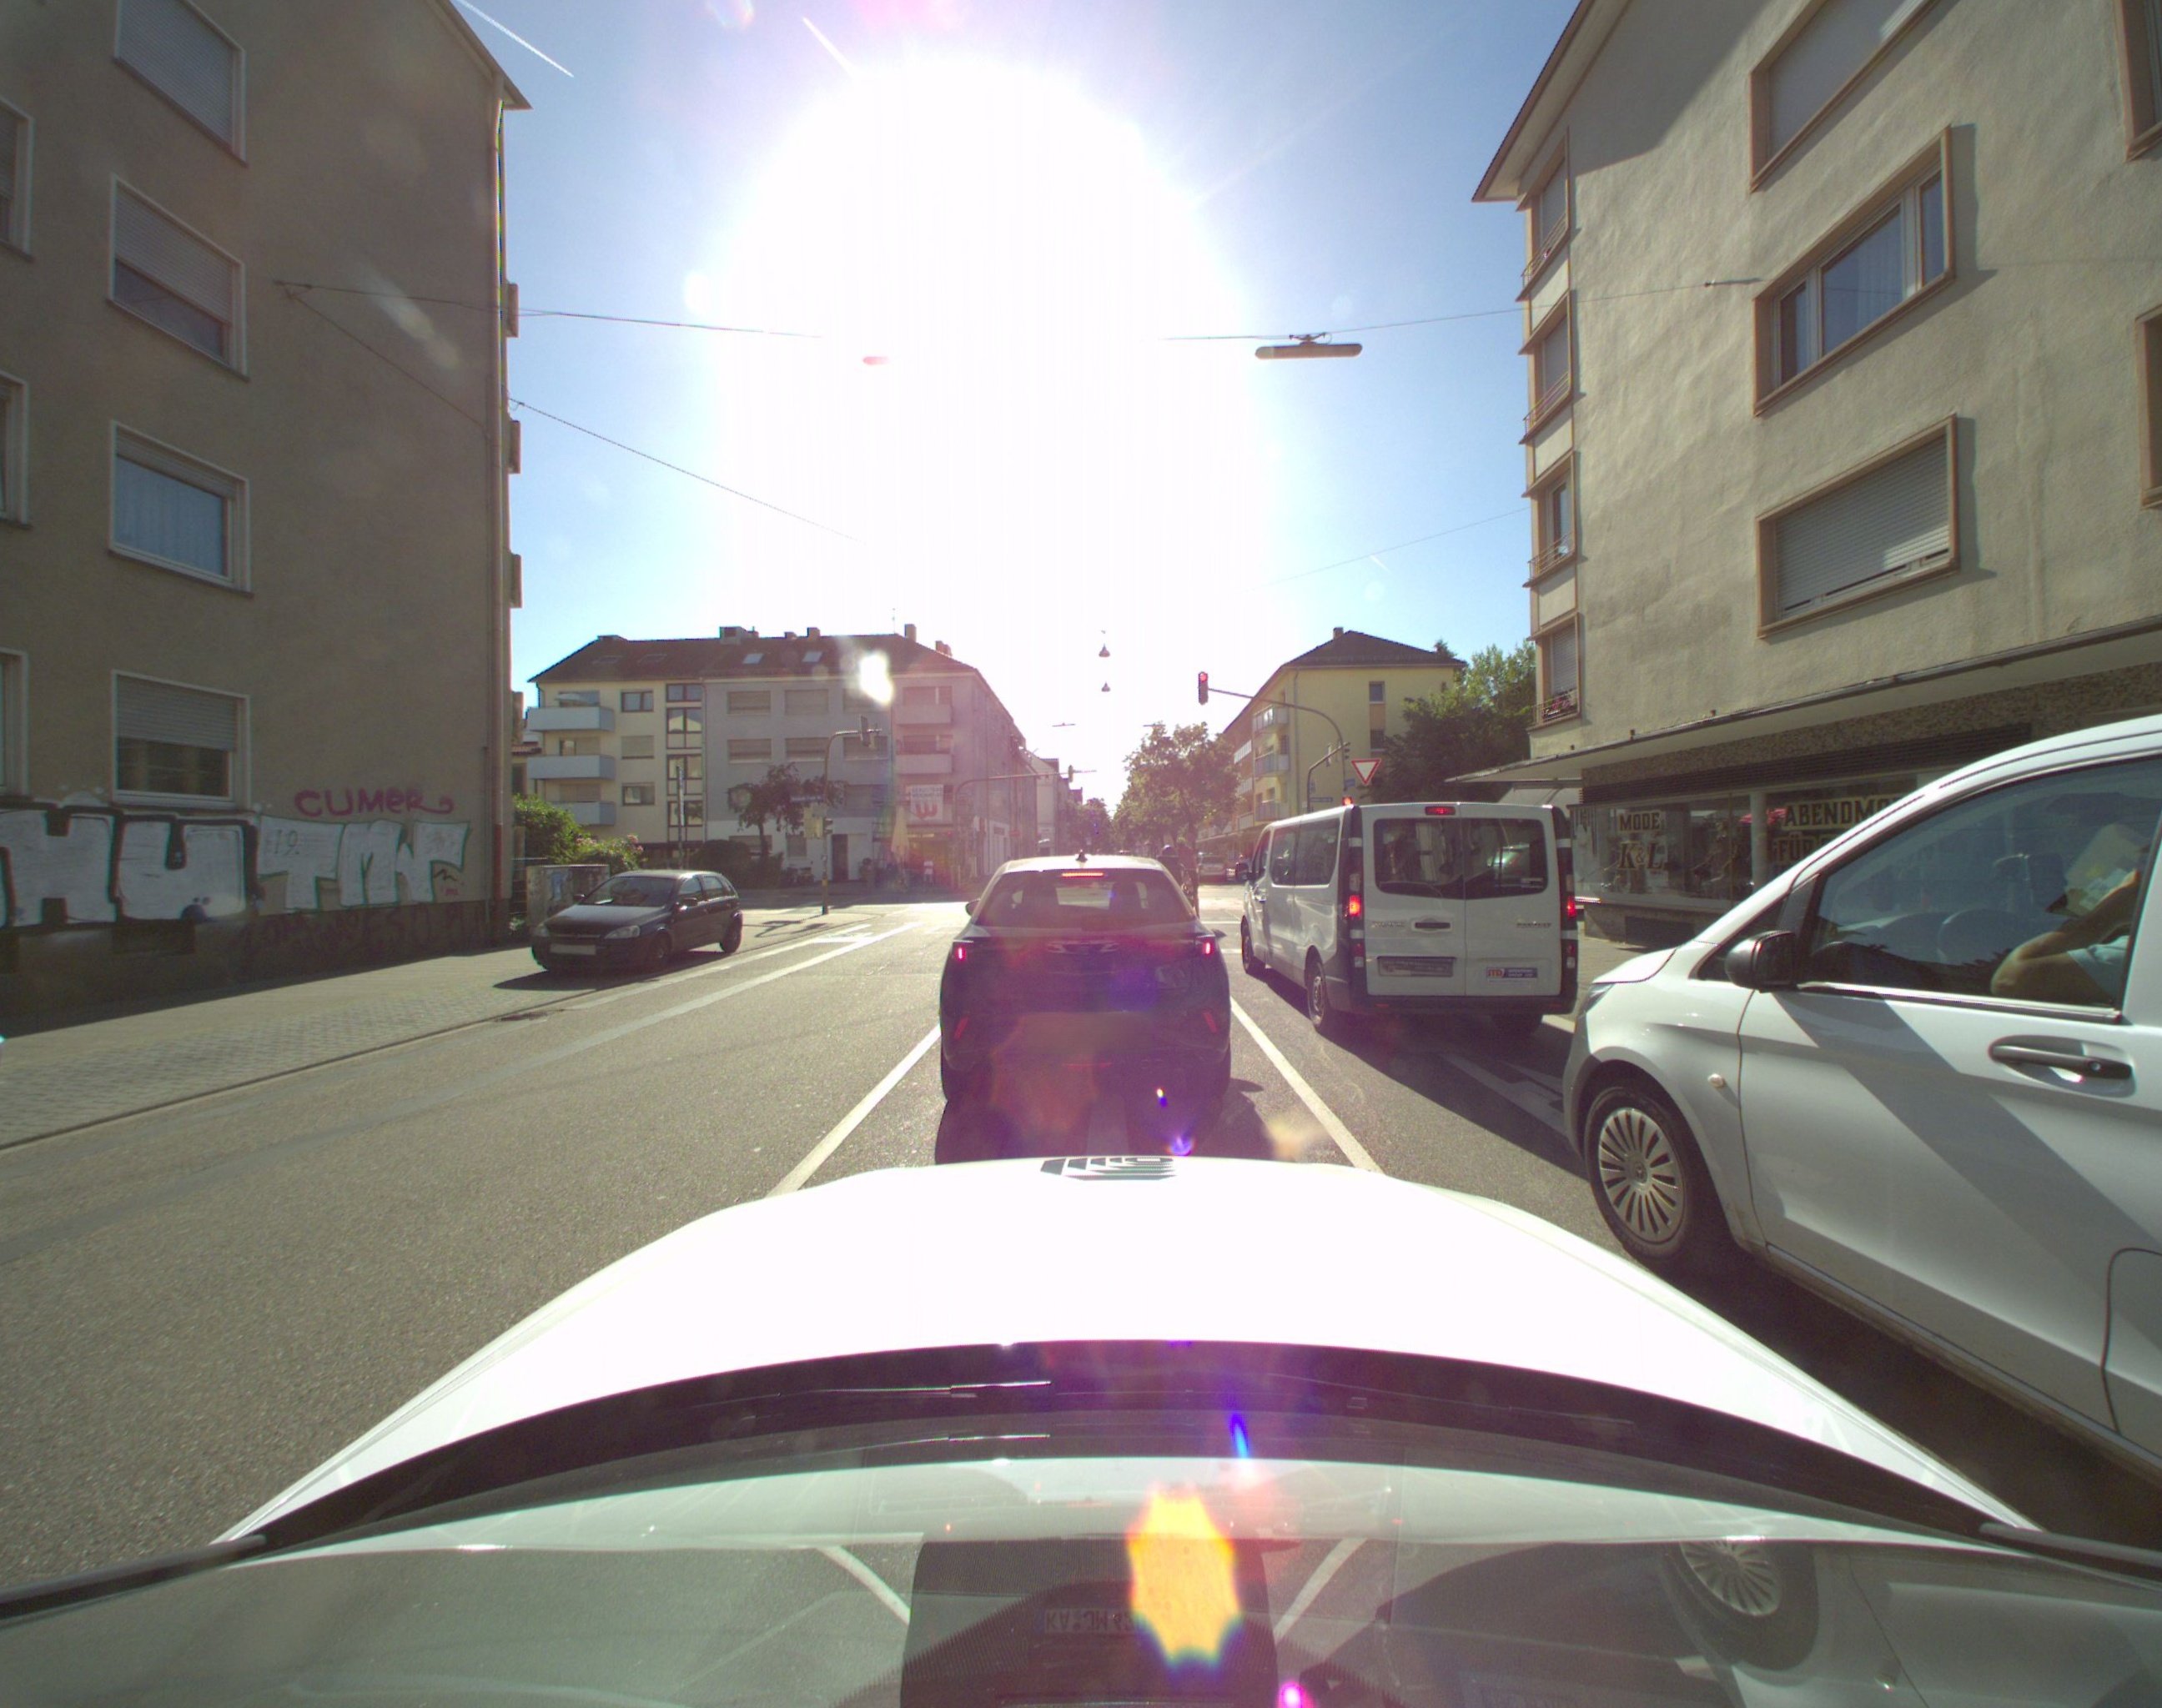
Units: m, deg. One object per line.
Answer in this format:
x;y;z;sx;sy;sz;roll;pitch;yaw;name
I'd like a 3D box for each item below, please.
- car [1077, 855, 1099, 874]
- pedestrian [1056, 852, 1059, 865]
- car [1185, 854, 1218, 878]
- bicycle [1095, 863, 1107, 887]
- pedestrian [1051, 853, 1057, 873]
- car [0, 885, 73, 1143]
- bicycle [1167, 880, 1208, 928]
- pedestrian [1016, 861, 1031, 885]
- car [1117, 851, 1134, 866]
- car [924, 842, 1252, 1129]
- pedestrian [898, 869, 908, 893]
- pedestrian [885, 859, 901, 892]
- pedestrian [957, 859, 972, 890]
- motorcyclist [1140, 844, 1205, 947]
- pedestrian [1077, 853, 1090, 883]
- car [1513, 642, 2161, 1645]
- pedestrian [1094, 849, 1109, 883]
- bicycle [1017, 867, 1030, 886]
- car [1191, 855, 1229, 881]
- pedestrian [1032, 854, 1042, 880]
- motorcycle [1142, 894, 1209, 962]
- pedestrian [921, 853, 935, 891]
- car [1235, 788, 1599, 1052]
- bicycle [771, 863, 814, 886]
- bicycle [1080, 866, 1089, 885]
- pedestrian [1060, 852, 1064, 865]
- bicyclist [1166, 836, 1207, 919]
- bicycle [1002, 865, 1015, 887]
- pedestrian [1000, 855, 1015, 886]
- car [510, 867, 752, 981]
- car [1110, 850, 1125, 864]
0.662;0.980;77.239;1.817;1.728;4.004;-1;0;3;car
-2.899;0.565;100.769;0.400;1.675;0.418;-1;0;1;pedestrian
7.644;0.763;51.909;1.628;1.433;4.002;-1;0;2;car
1.008;1.043;41.339;0.520;1.147;2.170;-1;0;0;bicycle
-2.335;0.786;70.484;0.486;1.690;0.588;-1;0;1;pedestrian
-7.126;0.916;2.596;1.711;1.465;4.817;1;0;2;car
2.286;1.044;17.636;0.575;0.904;2.301;-1;0;0;bicycle
-3.075;1.007;43.777;0.704;1.253;0.802;-1;0;0;pedestrian
5.080;0.511;94.153;1.894;1.728;4.075;-1;0;2;car
0.046;0.715;6.443;1.765;1.530;3.999;-1;0;0;car
-8.238;1.262;37.737;0.354;1.092;0.461;-1;0;-1;pedestrian
-8.720;1.001;37.752;0.582;1.521;0.649;-1;0;-1;pedestrian
-5.668;0.992;39.693;0.615;1.521;0.724;-1;0;-1;pedestrian
1.386;0.609;12.492;0.861;1.502;1.160;-1;0;1;motorcyclist
0.139;0.736;43.892;0.678;1.606;0.762;-1;0;0;pedestrian
2.921;0.528;1.237;1.831;1.869;4.995;-1;0;-1;car
1.027;0.596;41.169;0.704;1.701;0.802;-1;0;0;pedestrian
-3.078;1.199;43.992;0.520;0.992;2.339;-1;0;0;bicycle
7.435;0.777;47.199;1.628;1.433;3.958;-1;0;2;car
-2.884;0.850;52.975;0.568;1.690;0.588;-1;0;1;pedestrian
1.380;1.076;12.278;0.822;0.845;1.885;-1;0;1;motorcycle
-7.180;0.825;38.253;0.560;1.775;0.582;-1;0;-7;pedestrian
2.986;0.491;8.575;1.986;1.979;4.898;0;0;2;car
-15.310;1.086;43.238;2.103;1.172;0.735;-1;0;-22;bicycle
0.178;1.148;44.022;0.442;0.992;2.068;-1;0;0;bicycle
-2.307;0.553;100.509;0.400;1.675;0.418;-1;0;1;pedestrian
2.275;0.488;17.653;0.687;1.712;1.414;-1;0;0;bicyclist
-3.905;1.166;43.956;0.520;1.147;2.283;-1;0;0;bicycle
-3.929;0.876;43.723;0.704;1.678;0.802;-1;0;0;pedestrian
-6.778;0.962;12.767;1.610;1.425;3.711;2;0;1;car
4.680;0.322;104.447;1.894;1.728;4.003;-1;0;2;car
